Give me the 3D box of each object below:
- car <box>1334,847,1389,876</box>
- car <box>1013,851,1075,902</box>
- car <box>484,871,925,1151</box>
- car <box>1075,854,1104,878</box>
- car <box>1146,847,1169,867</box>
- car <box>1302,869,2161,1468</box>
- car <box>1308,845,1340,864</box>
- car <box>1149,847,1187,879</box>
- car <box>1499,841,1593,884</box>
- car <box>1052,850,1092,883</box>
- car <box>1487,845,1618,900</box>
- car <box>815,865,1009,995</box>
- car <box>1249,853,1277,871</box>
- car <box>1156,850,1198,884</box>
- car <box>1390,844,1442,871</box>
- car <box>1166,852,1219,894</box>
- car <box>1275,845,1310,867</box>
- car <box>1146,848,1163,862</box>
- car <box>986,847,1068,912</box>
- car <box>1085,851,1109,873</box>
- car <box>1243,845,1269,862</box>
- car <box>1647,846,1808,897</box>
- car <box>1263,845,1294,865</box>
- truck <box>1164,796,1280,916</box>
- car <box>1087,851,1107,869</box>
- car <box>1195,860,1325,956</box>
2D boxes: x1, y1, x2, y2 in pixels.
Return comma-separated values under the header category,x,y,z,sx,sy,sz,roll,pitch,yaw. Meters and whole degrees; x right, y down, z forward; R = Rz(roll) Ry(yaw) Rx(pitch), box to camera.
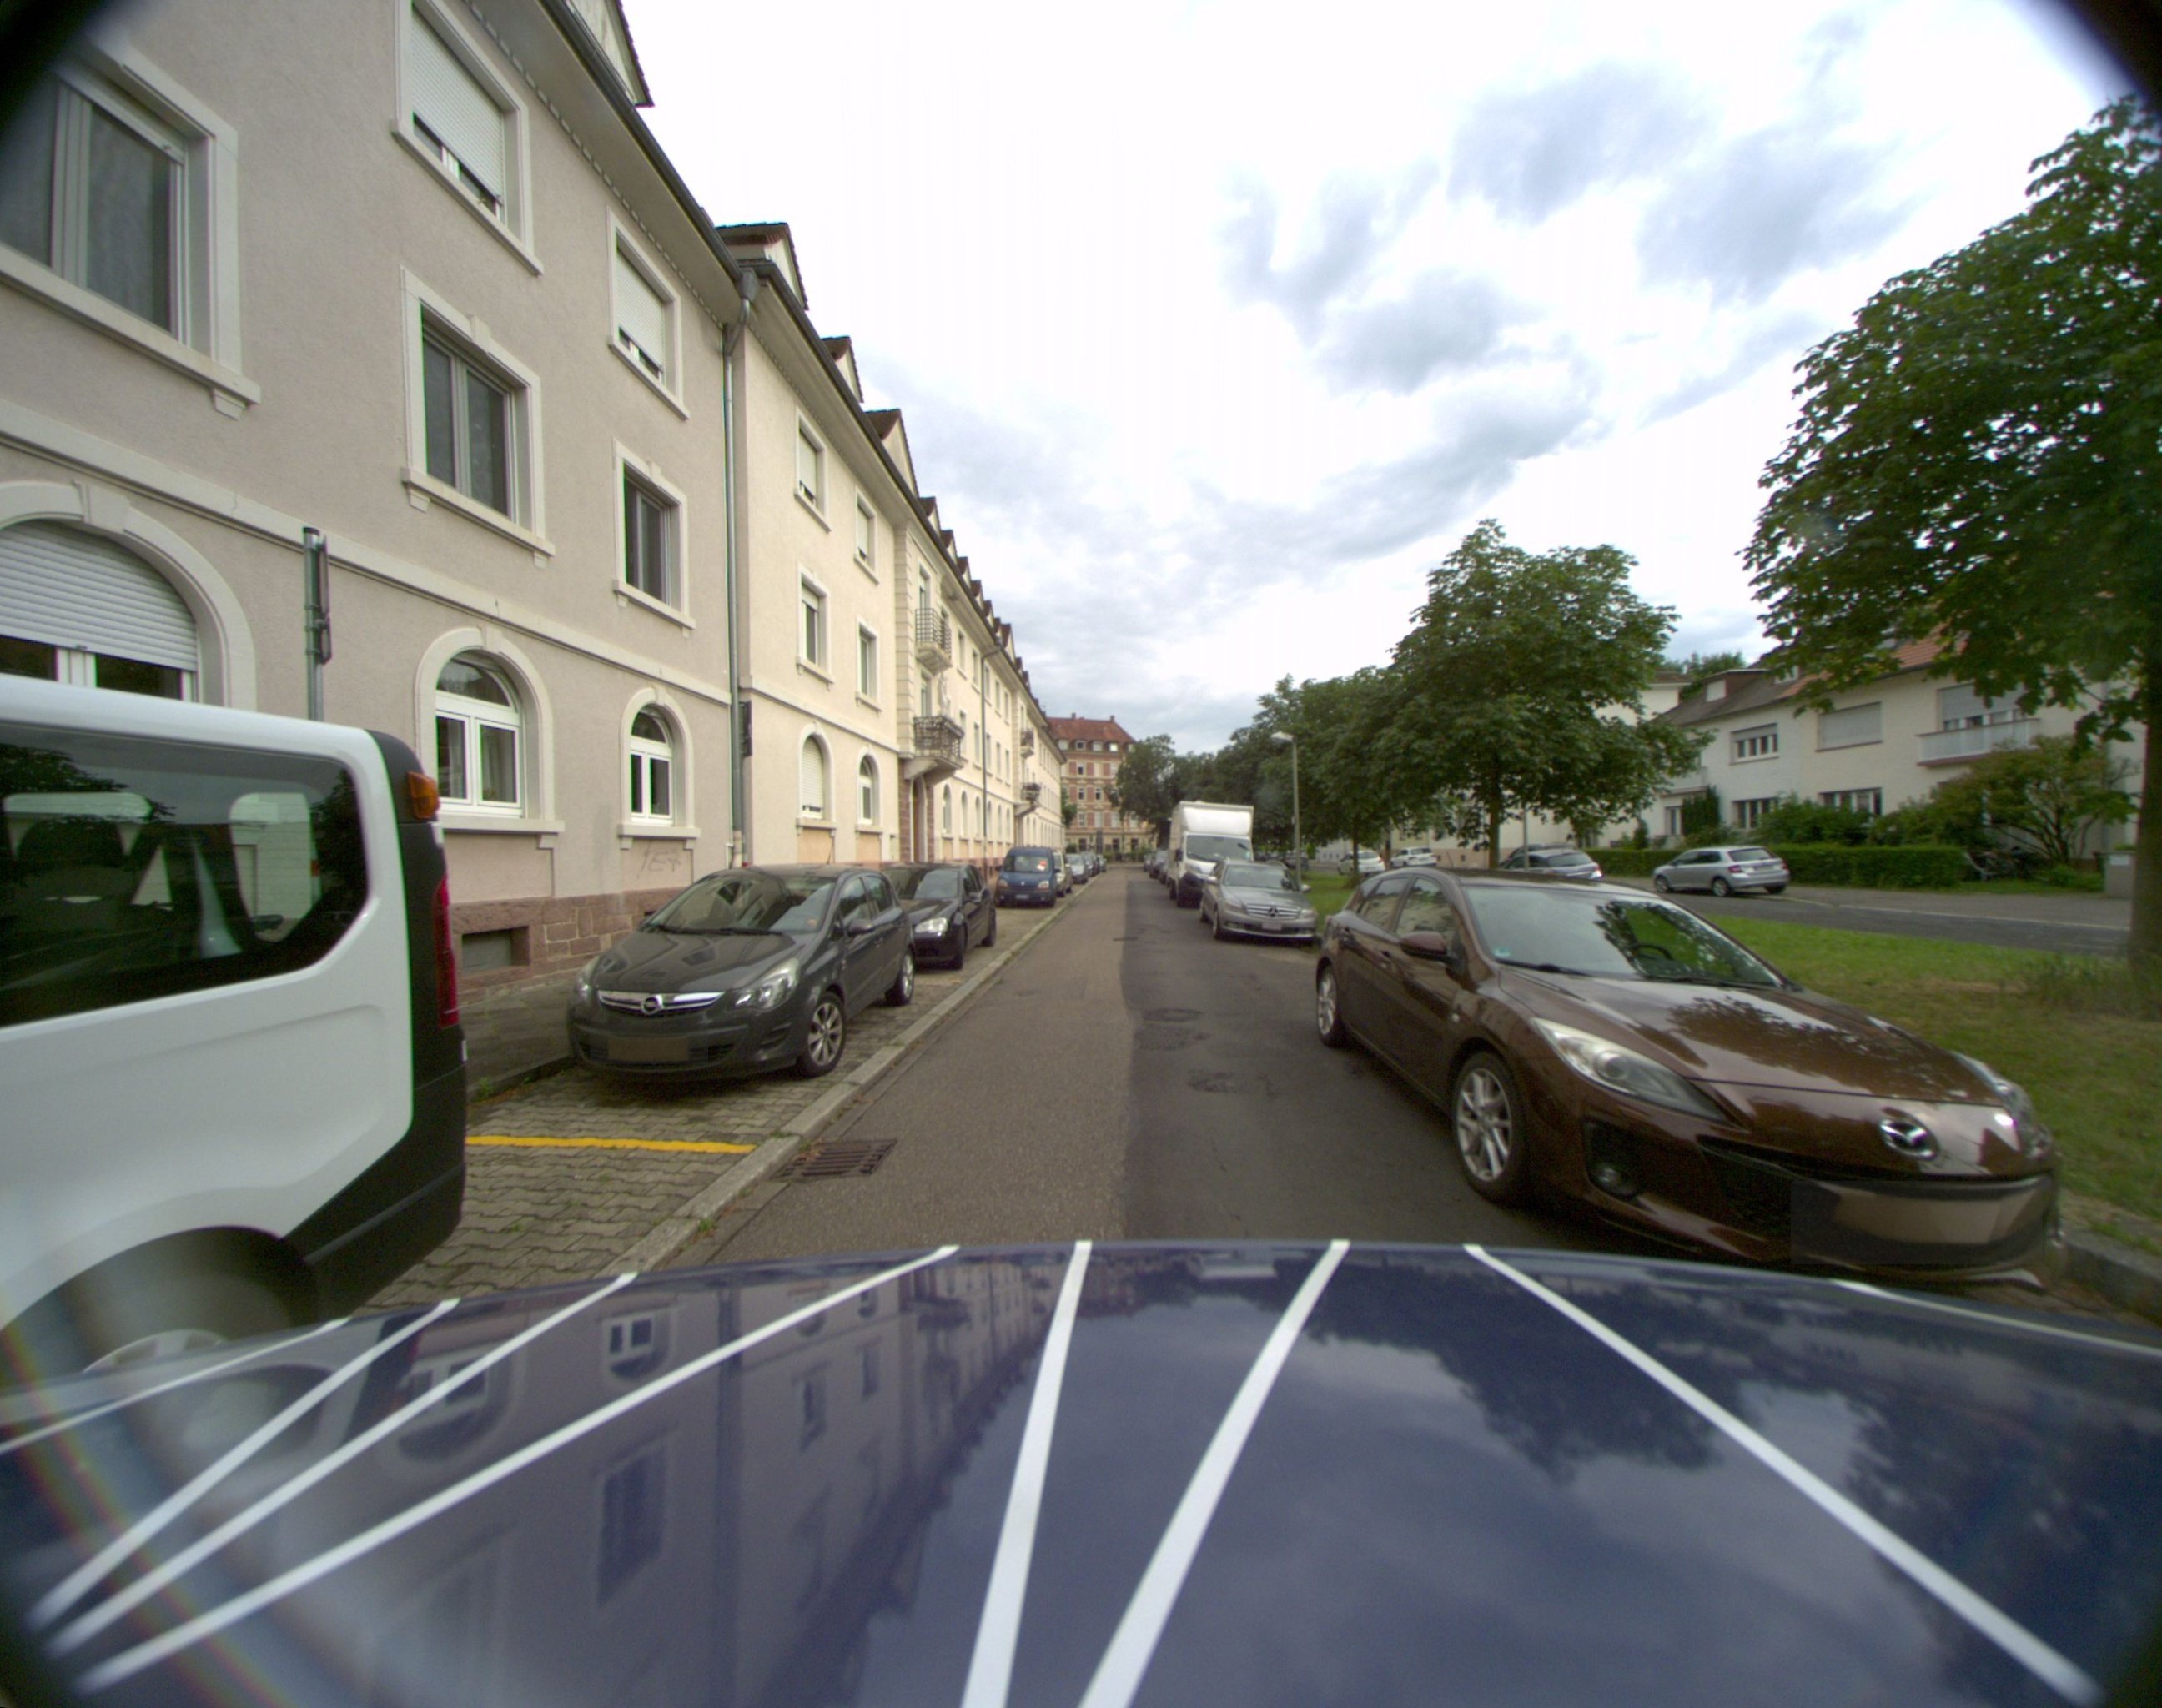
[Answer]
category,x,y,z,sx,sy,sz,roll,pitch,yaw
car,15.676,0.392,42.651,1.803,1.479,4.007,-2,1,4
car,-1.273,0.748,27.980,1.774,1.628,4.129,2,1,4
car,-2.576,0.953,6.330,1.692,1.445,3.901,1,1,1
car,0.616,0.761,49.439,1.609,1.392,4.011,2,1,4
car,6.418,0.237,63.918,1.643,1.570,4.209,-1,0,2
car,2.613,0.926,4.211,1.714,1.450,4.163,4,1,4
car,24.013,0.016,75.141,1.969,1.630,4.007,-4,1,4
car,5.019,0.456,44.280,1.784,1.698,4.315,2,1,2
car,20.641,0.328,33.955,1.803,1.664,4.101,-5,1,4
car,-0.402,0.596,39.102,1.685,1.505,3.955,2,1,4
car,14.708,0.514,23.982,1.803,1.479,4.007,-2,1,4
car,-2.319,0.971,11.688,1.691,1.445,4.545,1,1,4
car,17.958,0.778,75.059,1.969,1.630,4.007,-2,1,4
car,4.646,0.609,37.157,1.643,1.505,4.151,-1,1,2
car,21.685,0.204,49.401,1.803,1.598,4.007,-2,1,4
car,4.536,0.732,31.522,1.643,1.505,4.151,2,1,2
car,17.260,0.111,62.106,1.969,1.630,4.007,-2,1,4
car,8.772,0.091,90.549,1.643,1.570,4.209,2,1,2
car,-1.550,0.691,23.339,1.942,1.775,4.186,1,1,4
car,1.258,0.561,57.204,1.609,1.575,4.011,-1,0,4
car,18.424,-0.066,80.095,1.969,1.630,4.007,-2,1,4
car,19.913,0.478,23.649,1.803,1.347,3.942,-2,1,4
car,17.733,0.094,68.390,1.969,1.630,4.007,-2,1,4
truck,3.990,0.010,23.048,2.443,2.940,7.113,4,1,4
car,1.333,0.472,62.533,1.455,1.388,4.011,2,1,4
car,3.352,0.928,15.066,1.714,1.450,4.448,3,1,4
